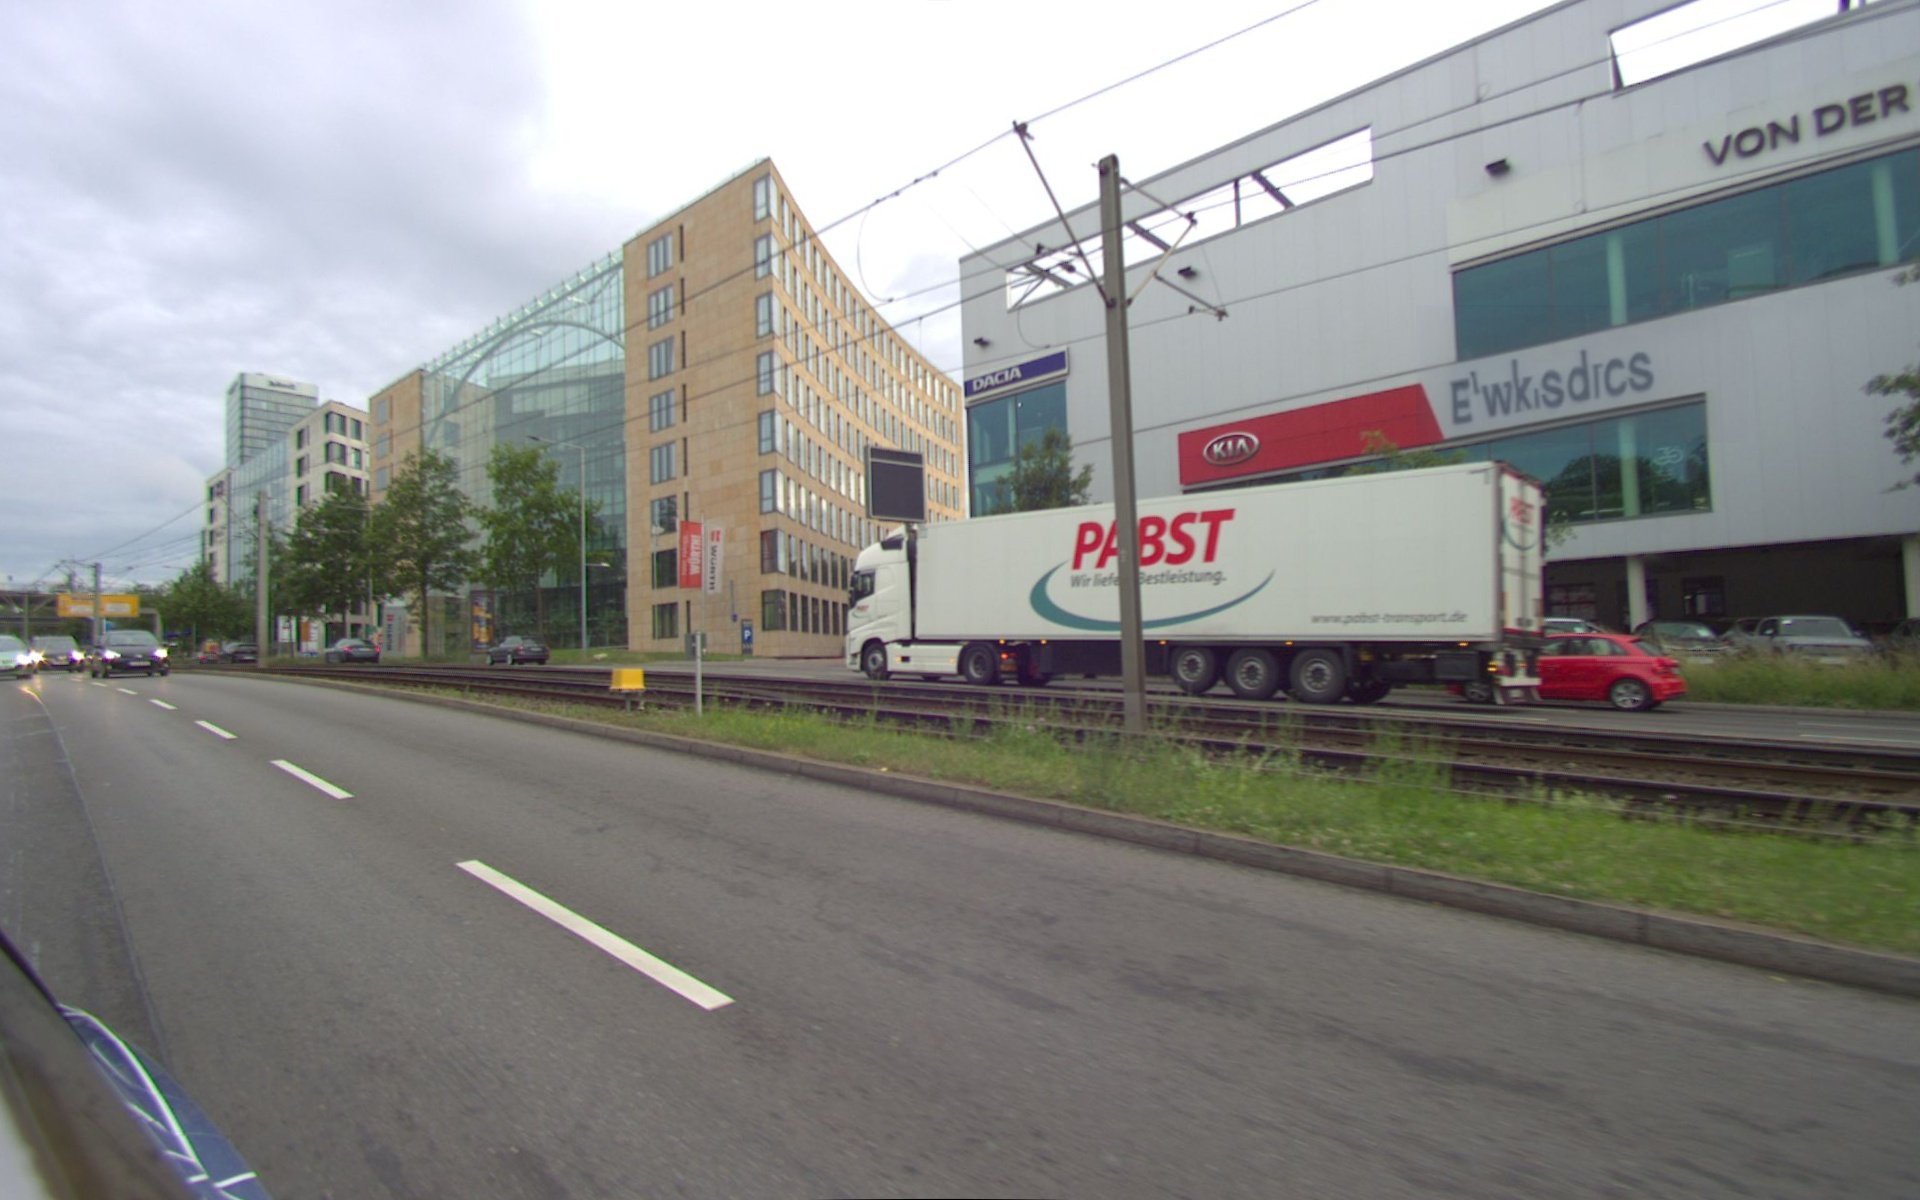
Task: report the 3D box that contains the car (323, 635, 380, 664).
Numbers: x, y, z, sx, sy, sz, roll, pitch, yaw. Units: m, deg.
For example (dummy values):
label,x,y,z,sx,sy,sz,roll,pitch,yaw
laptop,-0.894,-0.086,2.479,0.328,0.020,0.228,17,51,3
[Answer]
label,x,y,z,sx,sy,sz,roll,pitch,yaw
car,-32.969,2.669,54.771,4.100,1.447,1.665,-2,-1,44

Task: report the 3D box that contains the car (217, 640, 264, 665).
label,x,y,z,sx,sy,sz,roll,pitch,yaw
car,-46.206,3.346,64.960,4.100,1.447,1.665,-2,-1,44

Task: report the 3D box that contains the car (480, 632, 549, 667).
label,x,y,z,sx,sy,sz,roll,pitch,yaw
car,-22.139,2.422,50.213,3.998,1.630,1.609,-2,-1,41

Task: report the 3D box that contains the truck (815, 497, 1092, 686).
label,x,y,z,sx,sy,sz,roll,pitch,yaw
truck,-0.334,-0.055,26.398,7.029,4.276,3.100,-2,-4,44

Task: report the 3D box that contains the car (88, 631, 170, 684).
label,x,y,z,sx,sy,sz,roll,pitch,yaw
car,-26.891,1.796,32.717,3.828,1.544,1.680,-1,-1,45

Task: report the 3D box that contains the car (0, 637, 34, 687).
label,x,y,z,sx,sy,sz,roll,pitch,yaw
car,-32.312,2.046,33.901,4.372,1.544,1.681,-1,-1,44

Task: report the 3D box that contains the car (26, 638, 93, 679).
label,x,y,z,sx,sy,sz,roll,pitch,yaw
car,-39.619,2.527,44.495,4.317,1.619,1.762,-2,0,43

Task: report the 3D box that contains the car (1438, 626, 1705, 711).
label,x,y,z,sx,sy,sz,roll,pitch,yaw
car,11.395,1.212,19.032,4.026,1.380,1.665,-2,-1,44

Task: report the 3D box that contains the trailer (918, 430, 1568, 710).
label,x,y,z,sx,sy,sz,roll,pitch,yaw
trailer,4.900,-0.248,21.394,13.282,4.362,3.099,-2,-5,43

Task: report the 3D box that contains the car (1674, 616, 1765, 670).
label,x,y,z,sx,sy,sz,roll,pitch,yaw
car,18.723,1.018,25.037,1.392,1.202,3.136,-1,-1,30

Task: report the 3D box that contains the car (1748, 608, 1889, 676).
label,x,y,z,sx,sy,sz,roll,pitch,yaw
car,20.389,0.959,24.191,1.690,1.362,3.496,-2,1,26

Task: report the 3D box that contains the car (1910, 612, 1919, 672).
label,x,y,z,sx,sy,sz,roll,pitch,yaw
car,22.372,1.005,22.005,1.692,1.362,3.490,-2,1,30
